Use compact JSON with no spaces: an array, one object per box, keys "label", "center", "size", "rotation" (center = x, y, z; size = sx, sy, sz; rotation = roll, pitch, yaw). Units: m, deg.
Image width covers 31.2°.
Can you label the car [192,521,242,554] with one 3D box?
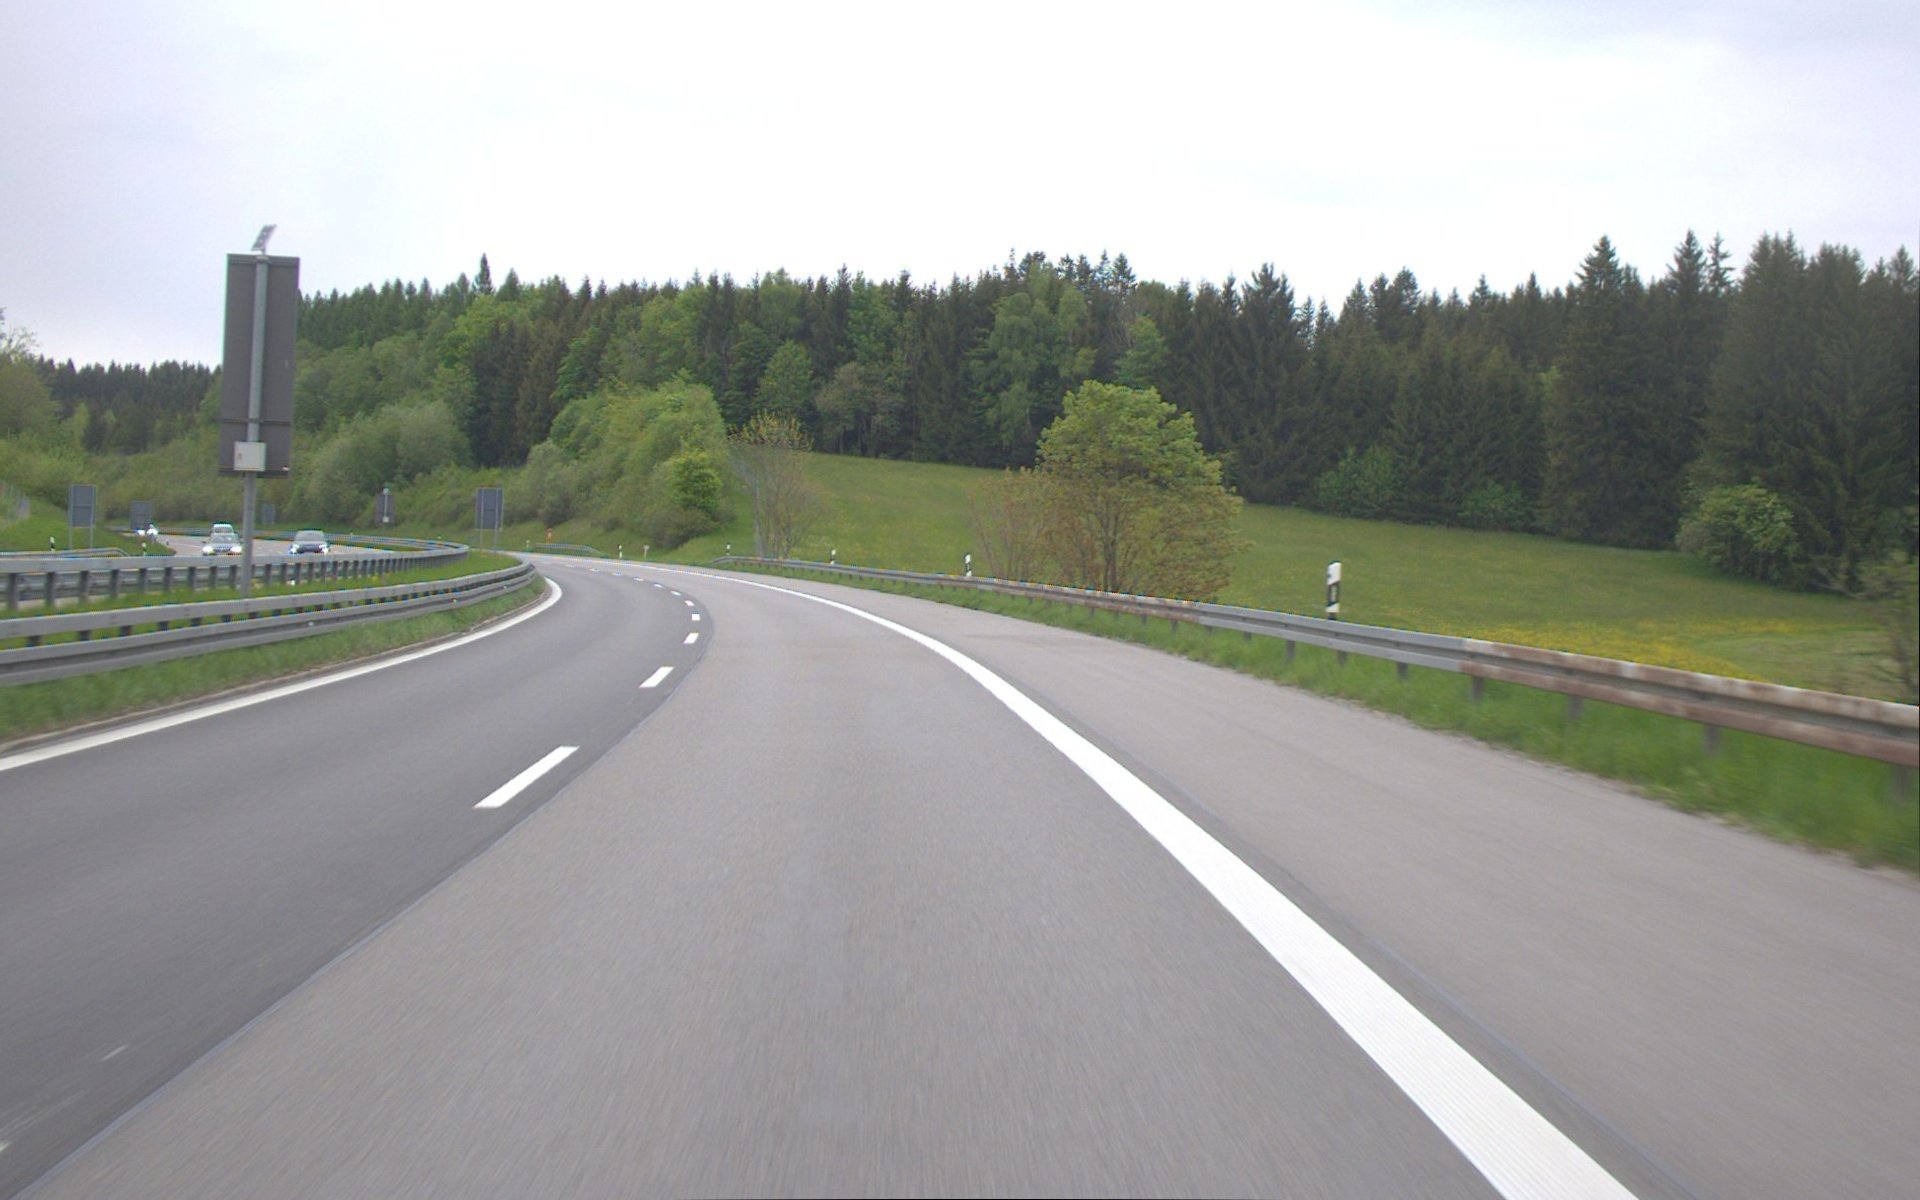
[{"label":"car","center":[-35.648,-3.020,165.055],"size":[1.993,1.435,5.001],"rotation":[3,1,-9]}]

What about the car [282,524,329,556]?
[{"label":"car","center":[-31.492,-2.892,165.455],"size":[1.993,1.412,4.001],"rotation":[3,1,-9]}]
